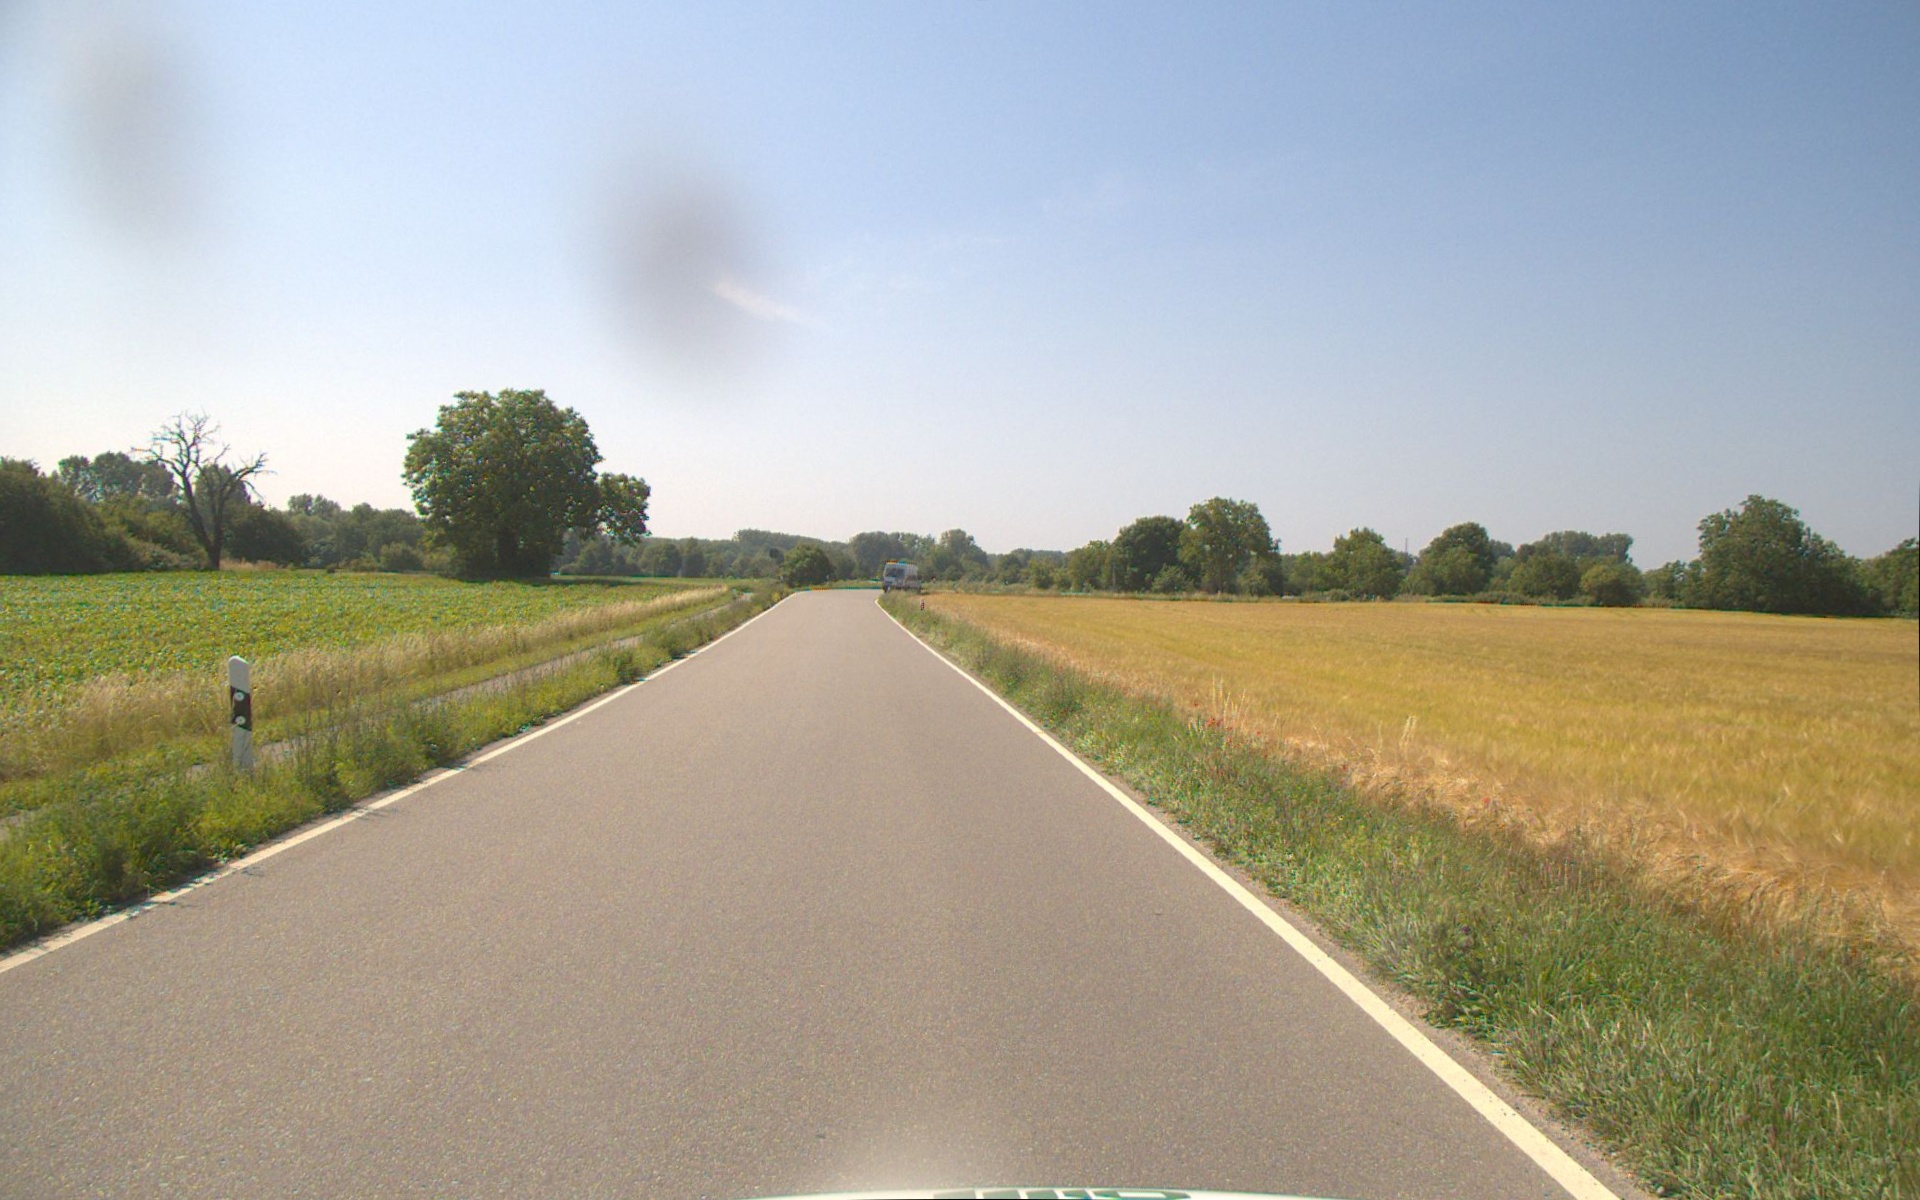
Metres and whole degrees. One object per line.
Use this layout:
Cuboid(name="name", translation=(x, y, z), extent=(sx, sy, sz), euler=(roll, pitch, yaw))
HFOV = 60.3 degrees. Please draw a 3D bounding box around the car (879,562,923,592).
Cuboid(name="car", translation=(-4.769, -1.871, 134.445), extent=(2.059, 2.408, 5.691), euler=(1, 1, 14))
